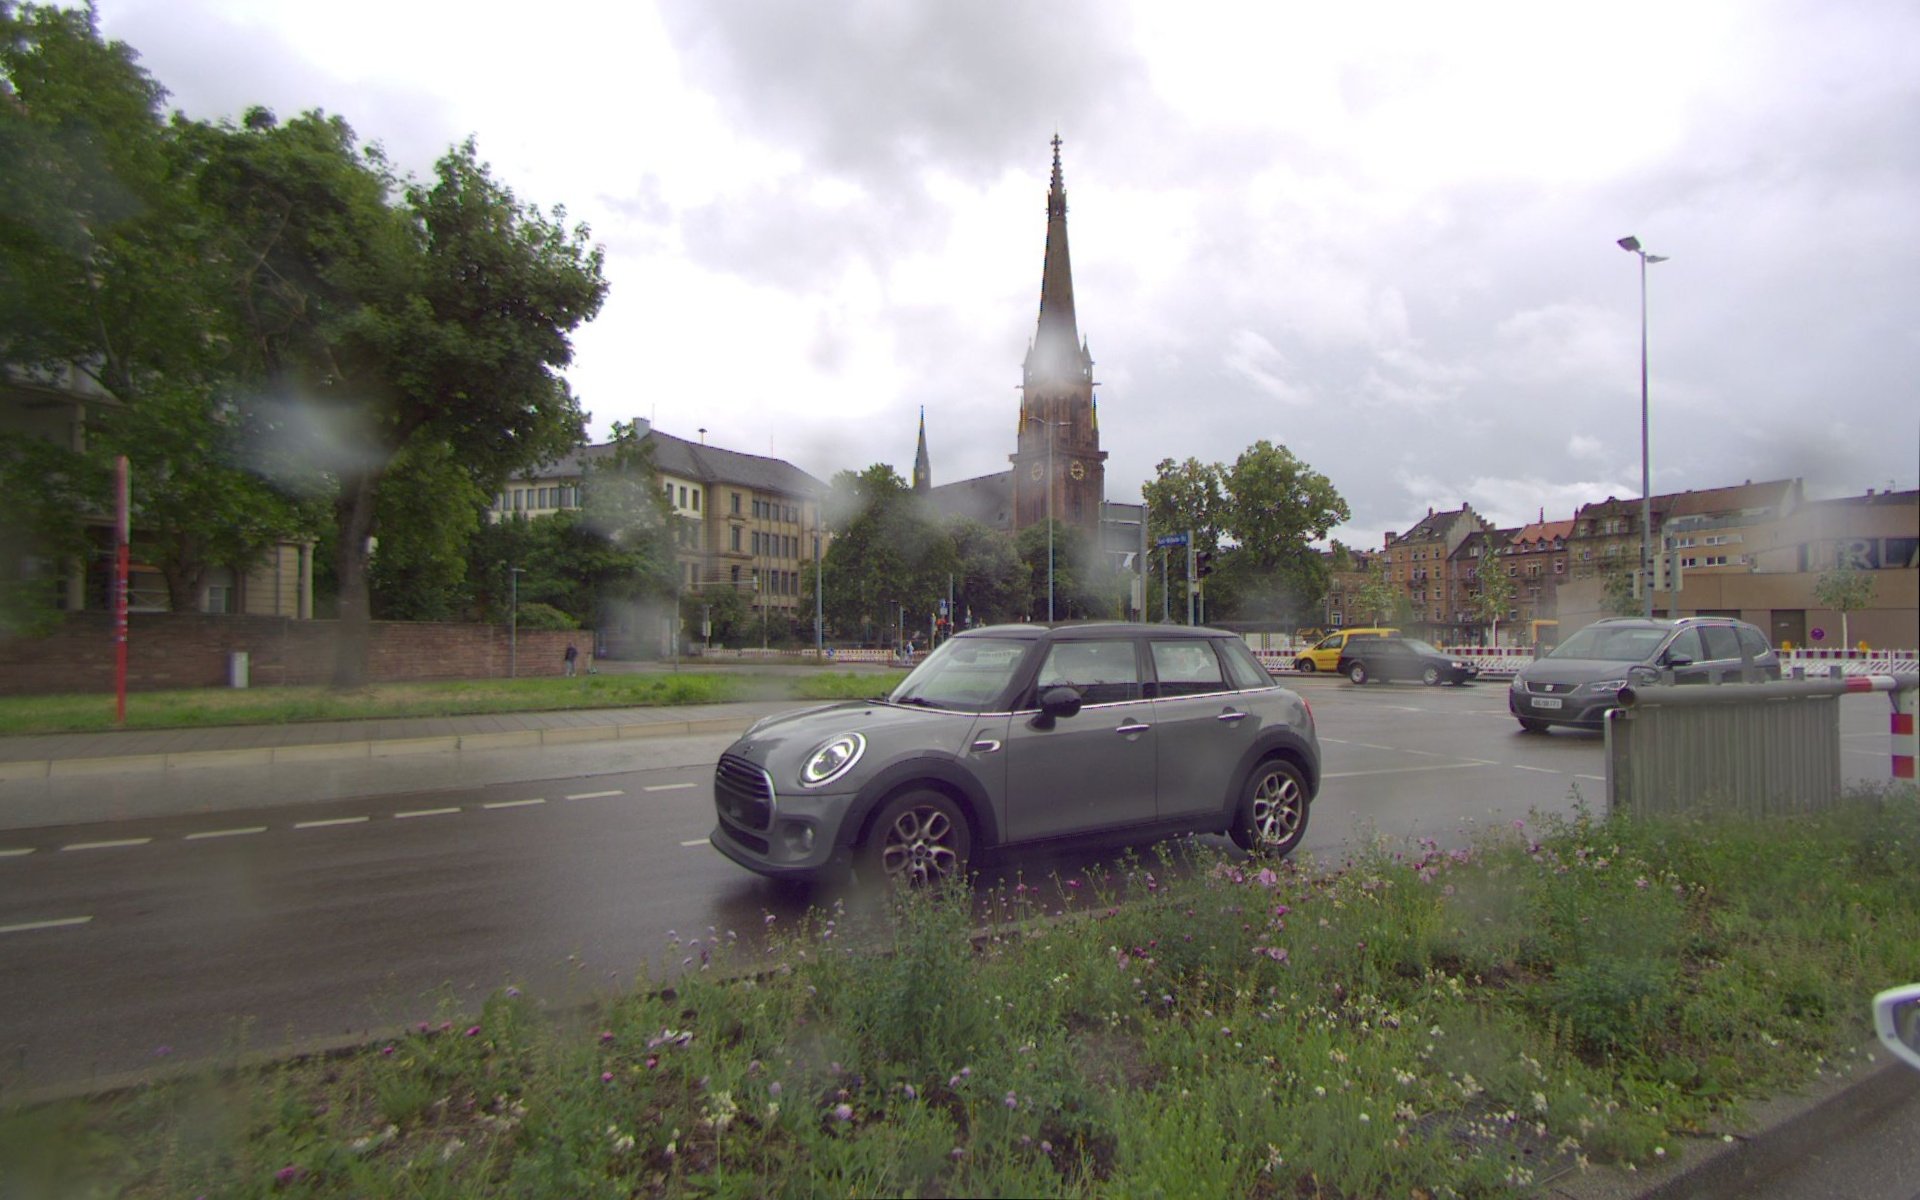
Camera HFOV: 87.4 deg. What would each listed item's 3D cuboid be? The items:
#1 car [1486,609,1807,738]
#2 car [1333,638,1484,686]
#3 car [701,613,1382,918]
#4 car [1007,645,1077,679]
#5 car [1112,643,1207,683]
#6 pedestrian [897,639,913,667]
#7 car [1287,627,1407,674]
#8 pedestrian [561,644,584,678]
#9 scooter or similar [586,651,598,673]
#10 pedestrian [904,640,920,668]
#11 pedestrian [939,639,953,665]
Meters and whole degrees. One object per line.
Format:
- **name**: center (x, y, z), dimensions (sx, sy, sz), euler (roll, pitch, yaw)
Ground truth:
- **car**: center (10.301, 1.037, 15.043), dimensions (4.702, 1.700, 1.768), euler (1, -2, -24)
- **car**: center (14.174, 1.924, 31.979), dimensions (1.602, 1.420, 4.163), euler (1, -2, -36)
- **car**: center (0.604, 0.836, 6.409), dimensions (4.071, 1.394, 1.764), euler (1, -3, -30)
- **car**: center (4.398, 3.291, 54.279), dimensions (1.695, 1.728, 3.780), euler (1, -2, -37)
- **car**: center (9.320, 2.933, 47.337), dimensions (1.695, 1.728, 4.414), euler (1, -2, -37)
- **pedestrian**: center (-4.057, 3.903, 74.246), dimensions (0.945, 2.040, 0.852), euler (1, -2, -30)
- **car**: center (15.052, 1.946, 39.217), dimensions (1.695, 1.728, 4.109), euler (1, -2, -37)
- **pedestrian**: center (-17.885, 2.811, 46.343), dimensions (0.661, 1.520, 0.775), euler (0, -2, 9)
- **scooter or similar**: center (-19.390, 3.258, 52.969), dimensions (0.274, 1.096, 1.078), euler (0, -2, -4)
- **pedestrian**: center (-3.516, 3.913, 73.384), dimensions (0.945, 2.040, 0.852), euler (1, -2, -30)
- **pedestrian**: center (-0.982, 3.638, 70.783), dimensions (0.765, 1.801, 0.720), euler (1, -2, -30)
